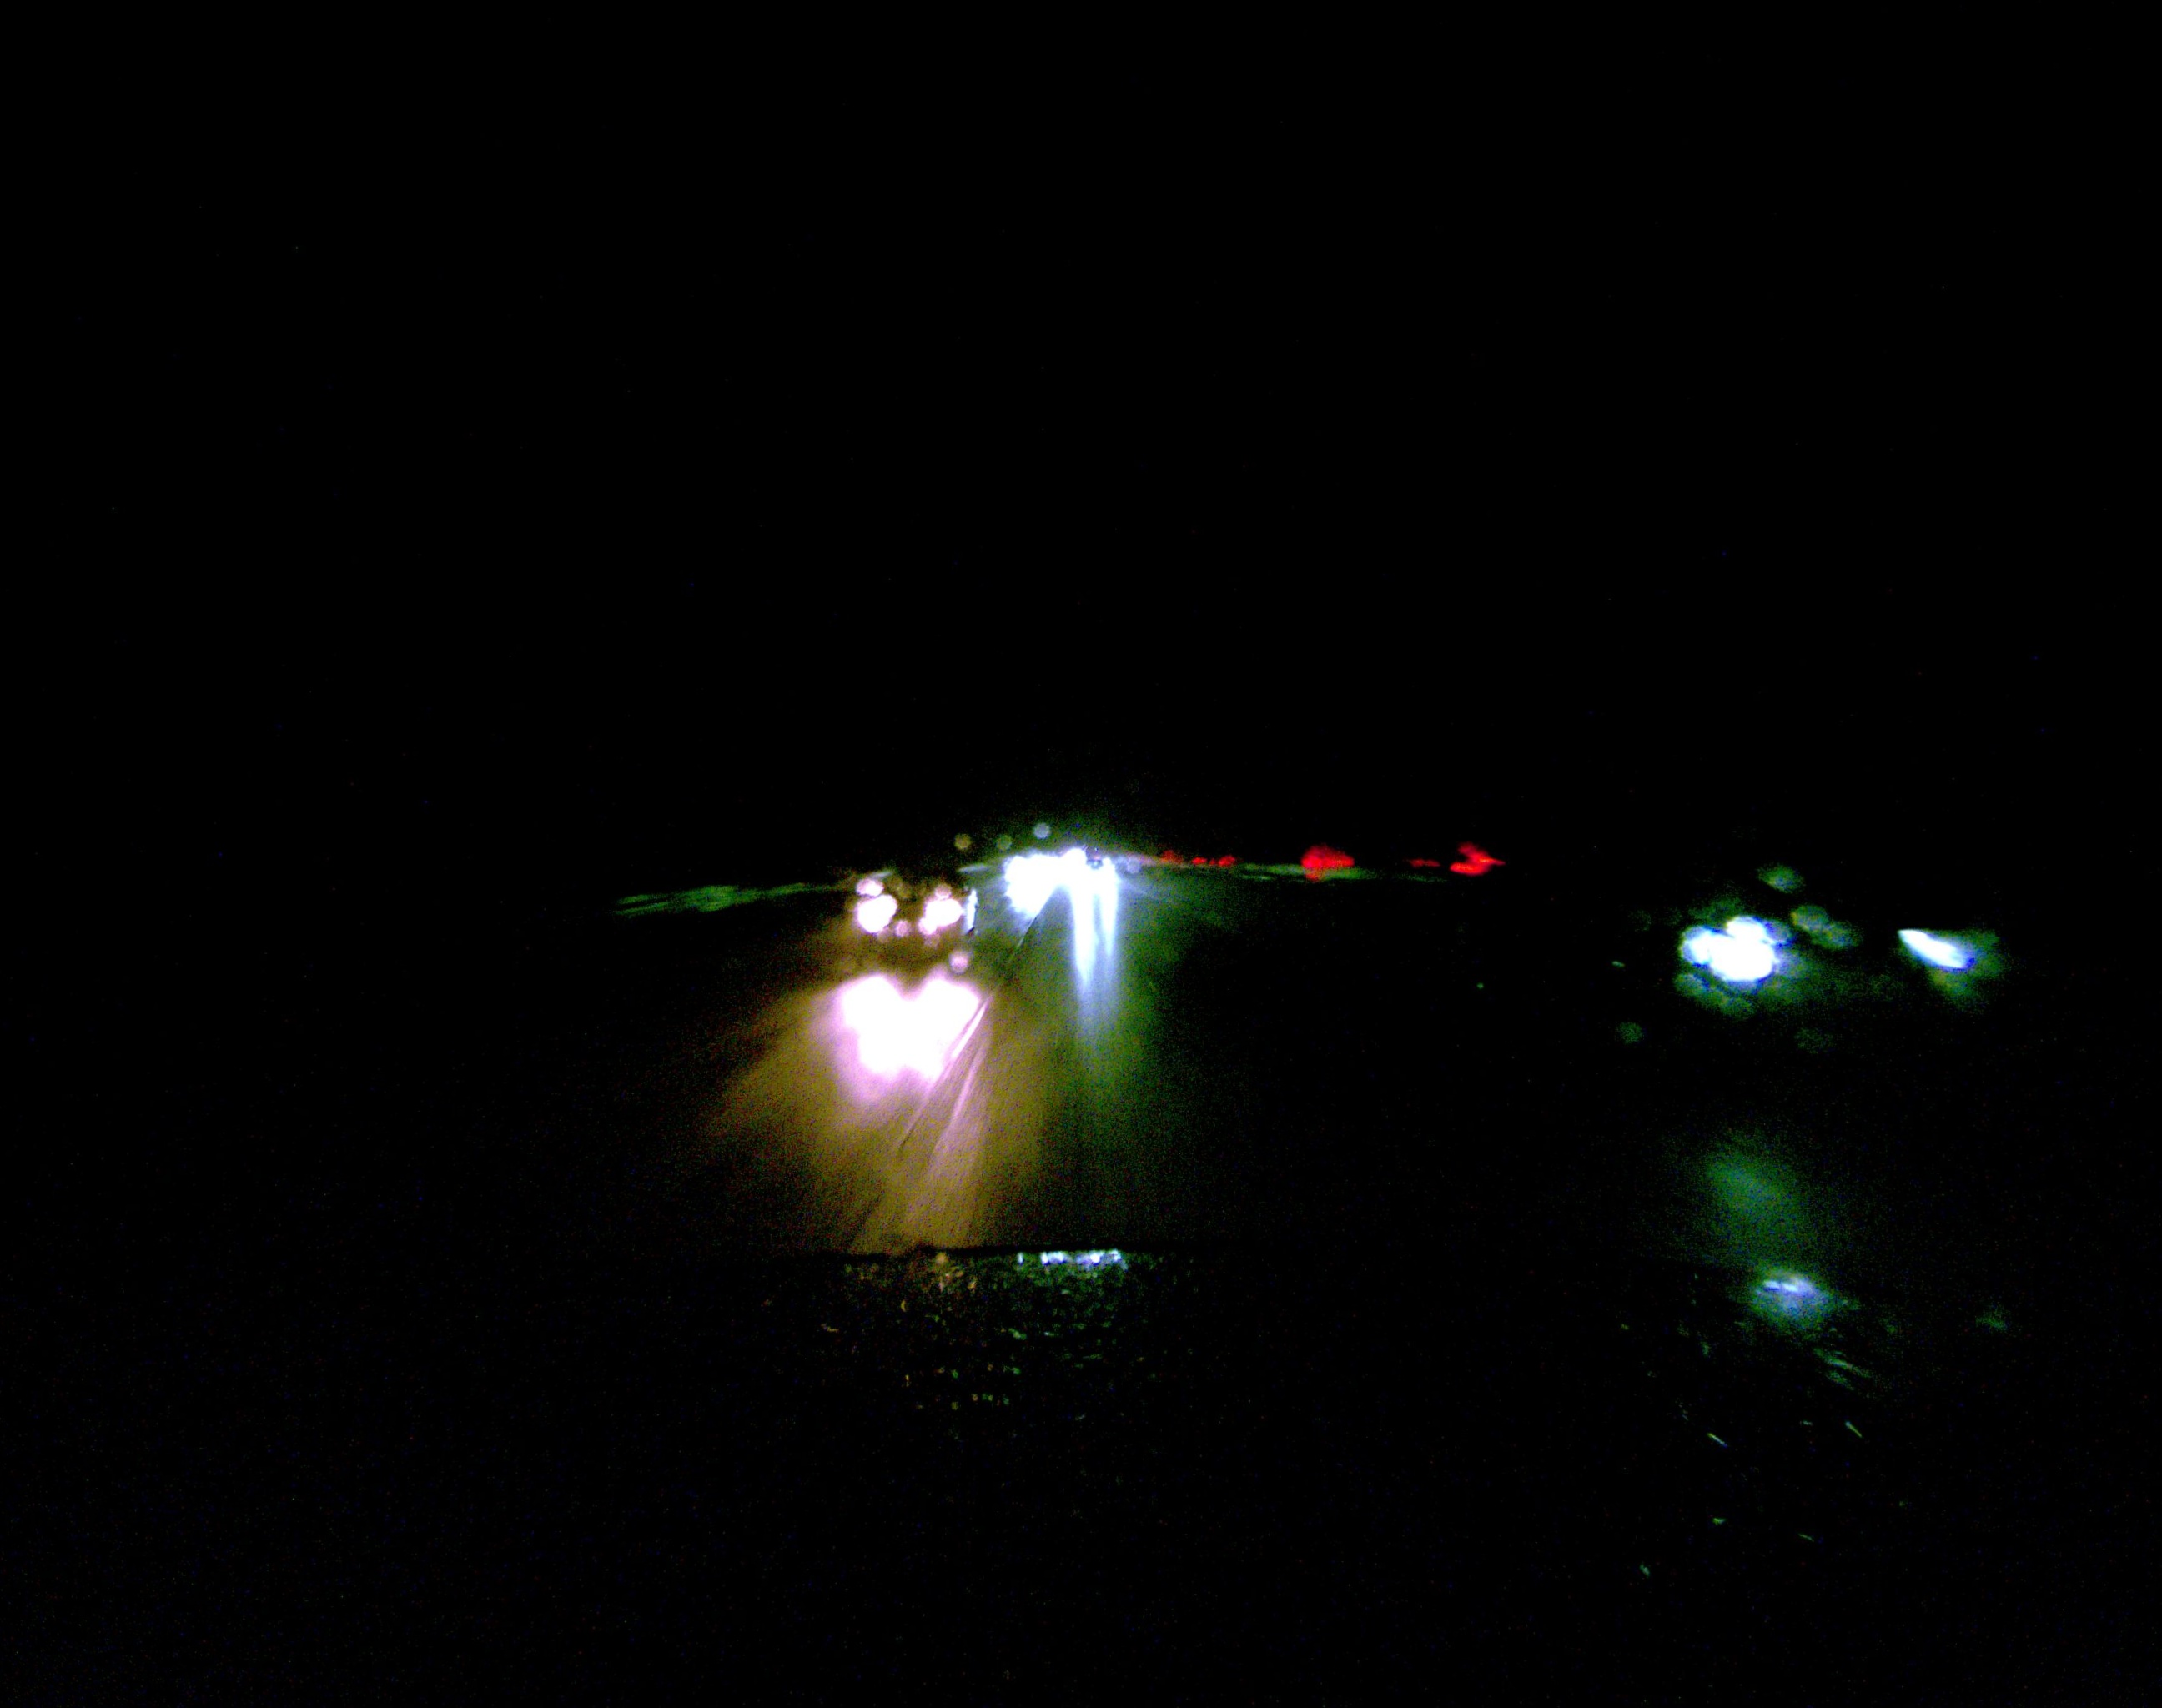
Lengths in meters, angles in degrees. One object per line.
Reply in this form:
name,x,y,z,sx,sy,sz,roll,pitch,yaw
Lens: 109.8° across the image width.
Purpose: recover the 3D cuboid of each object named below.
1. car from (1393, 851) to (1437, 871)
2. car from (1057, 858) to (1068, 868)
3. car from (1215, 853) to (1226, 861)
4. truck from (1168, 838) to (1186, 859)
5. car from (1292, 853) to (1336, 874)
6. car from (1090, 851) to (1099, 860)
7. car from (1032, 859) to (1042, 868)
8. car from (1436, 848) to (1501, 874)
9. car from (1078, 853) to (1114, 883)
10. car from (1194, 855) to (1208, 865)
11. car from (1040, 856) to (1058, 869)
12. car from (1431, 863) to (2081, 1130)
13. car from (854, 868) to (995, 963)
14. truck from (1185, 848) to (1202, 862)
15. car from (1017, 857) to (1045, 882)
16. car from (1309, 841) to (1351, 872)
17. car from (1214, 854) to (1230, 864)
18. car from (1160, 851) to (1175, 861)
car,29.629,0.624,67.587,1.598,1.675,4.545,-2,0,-4
car,-3.527,1.739,148.341,1.999,1.852,3.999,-2,0,0
car,31.299,0.634,170.434,1.767,1.663,3.886,-2,0,0
truck,30.012,-1.707,238.673,3.231,6.375,17.300,-2,0,0
car,16.936,0.655,55.344,1.756,1.386,4.673,-2,0,1
car,2.974,0.279,165.761,1.800,1.728,3.999,-2,0,0
car,-8.307,1.722,143.875,1.755,1.563,3.999,-2,0,0
car,24.607,0.430,48.456,1.811,1.509,4.348,-2,0,-1
car,0.867,0.836,46.695,1.960,1.655,4.915,-2,0,-1
car,20.343,1.019,129.166,1.767,1.663,3.886,-2,0,0
car,-4.273,1.153,102.799,1.998,1.589,4.652,-2,0,1
car,4.817,0.832,6.433,1.661,1.422,4.245,-2,0,-1
car,-2.818,1.049,14.613,1.774,1.449,4.195,-2,0,0
truck,24.666,0.244,166.932,2.457,2.982,6.701,-2,0,0
car,-3.615,1.113,55.731,1.792,1.681,3.999,-2,0,0
car,20.945,0.177,64.156,1.974,2.387,4.844,-2,1,1
car,23.947,0.854,129.179,1.767,1.663,3.886,-2,0,0
car,16.168,0.314,142.257,1.999,1.796,5.164,-2,0,0
